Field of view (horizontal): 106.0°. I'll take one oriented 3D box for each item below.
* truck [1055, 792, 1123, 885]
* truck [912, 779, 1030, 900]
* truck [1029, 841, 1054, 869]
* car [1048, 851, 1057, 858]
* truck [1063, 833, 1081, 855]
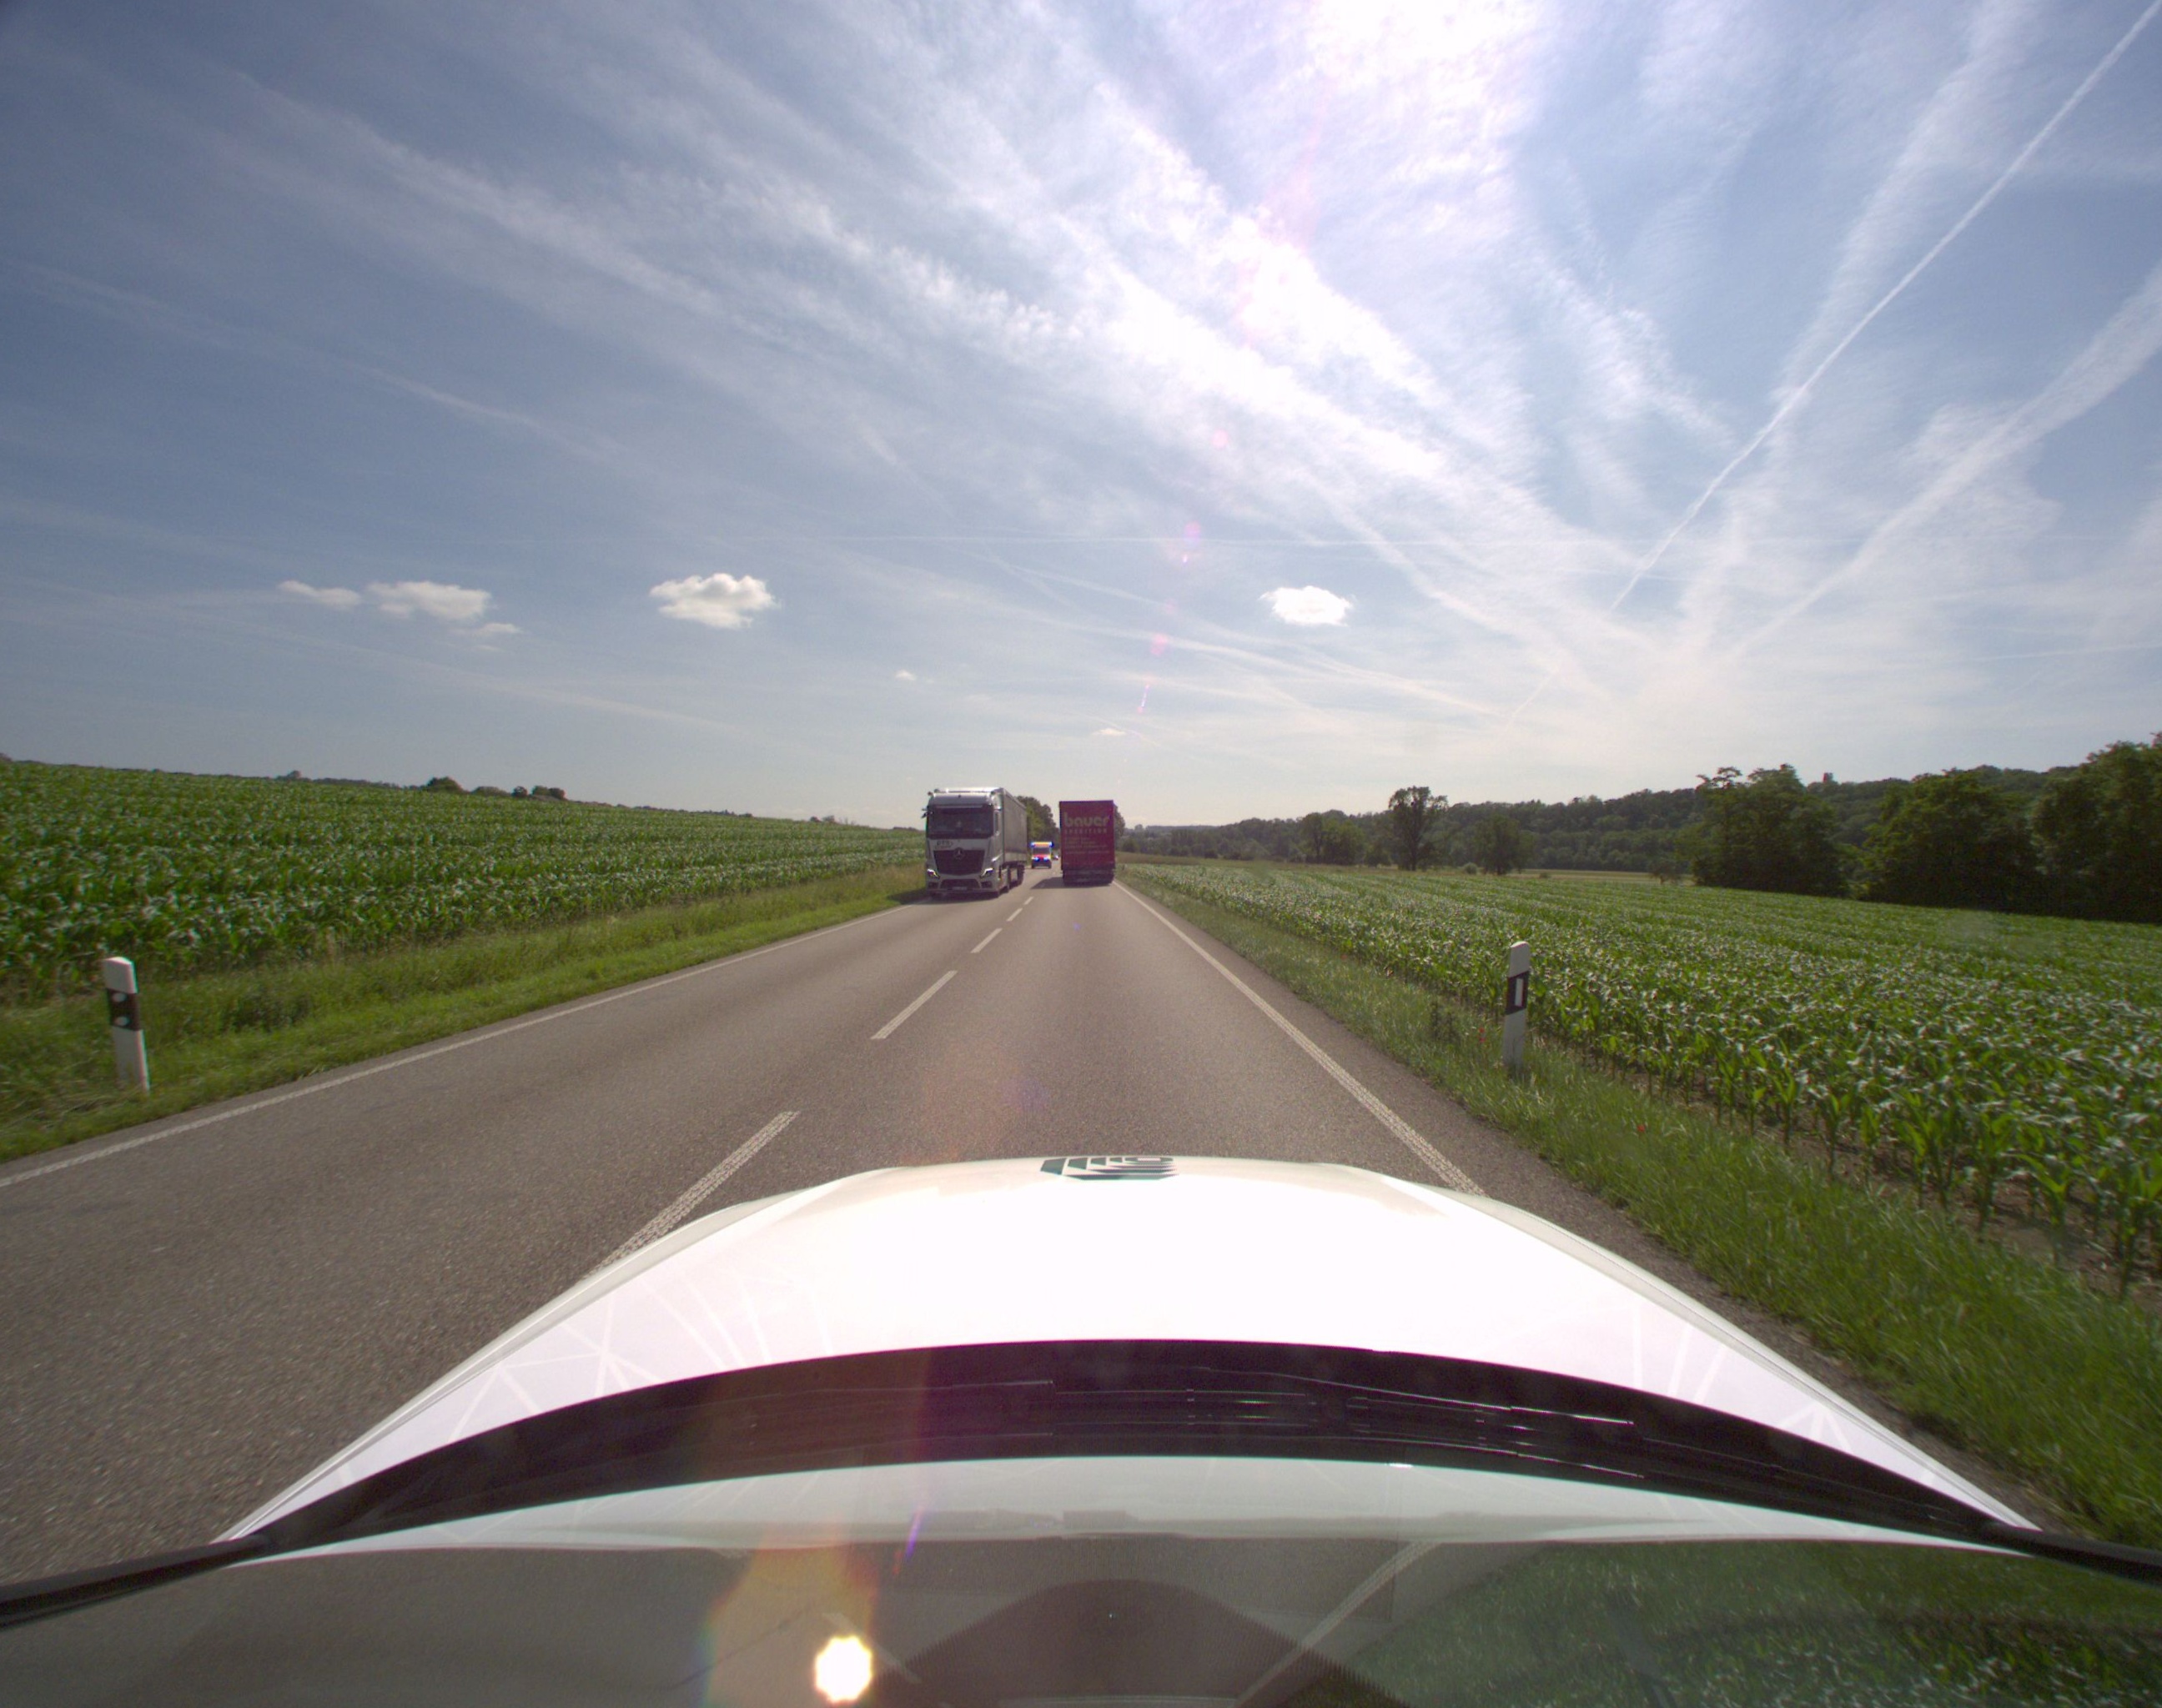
[{"bbox_3d":[0.448,-0.660,41.815,3.083,4.263,8.315,-1,-1,1],"label":"truck"},{"bbox_3d":[-4.220,-0.494,35.538,2.818,3.992,16.529,-1,0,0],"label":"truck"},{"bbox_3d":[-3.984,0.101,83.184,2.201,2.672,6.414,-1,0,-1],"label":"truck"},{"bbox_3d":[-5.744,0.120,165.900,1.668,1.457,4.349,-1,0,-1],"label":"car"},{"bbox_3d":[-1.873,-2.111,173.265,3.628,4.292,11.984,-1,-1,1],"label":"truck"}]
